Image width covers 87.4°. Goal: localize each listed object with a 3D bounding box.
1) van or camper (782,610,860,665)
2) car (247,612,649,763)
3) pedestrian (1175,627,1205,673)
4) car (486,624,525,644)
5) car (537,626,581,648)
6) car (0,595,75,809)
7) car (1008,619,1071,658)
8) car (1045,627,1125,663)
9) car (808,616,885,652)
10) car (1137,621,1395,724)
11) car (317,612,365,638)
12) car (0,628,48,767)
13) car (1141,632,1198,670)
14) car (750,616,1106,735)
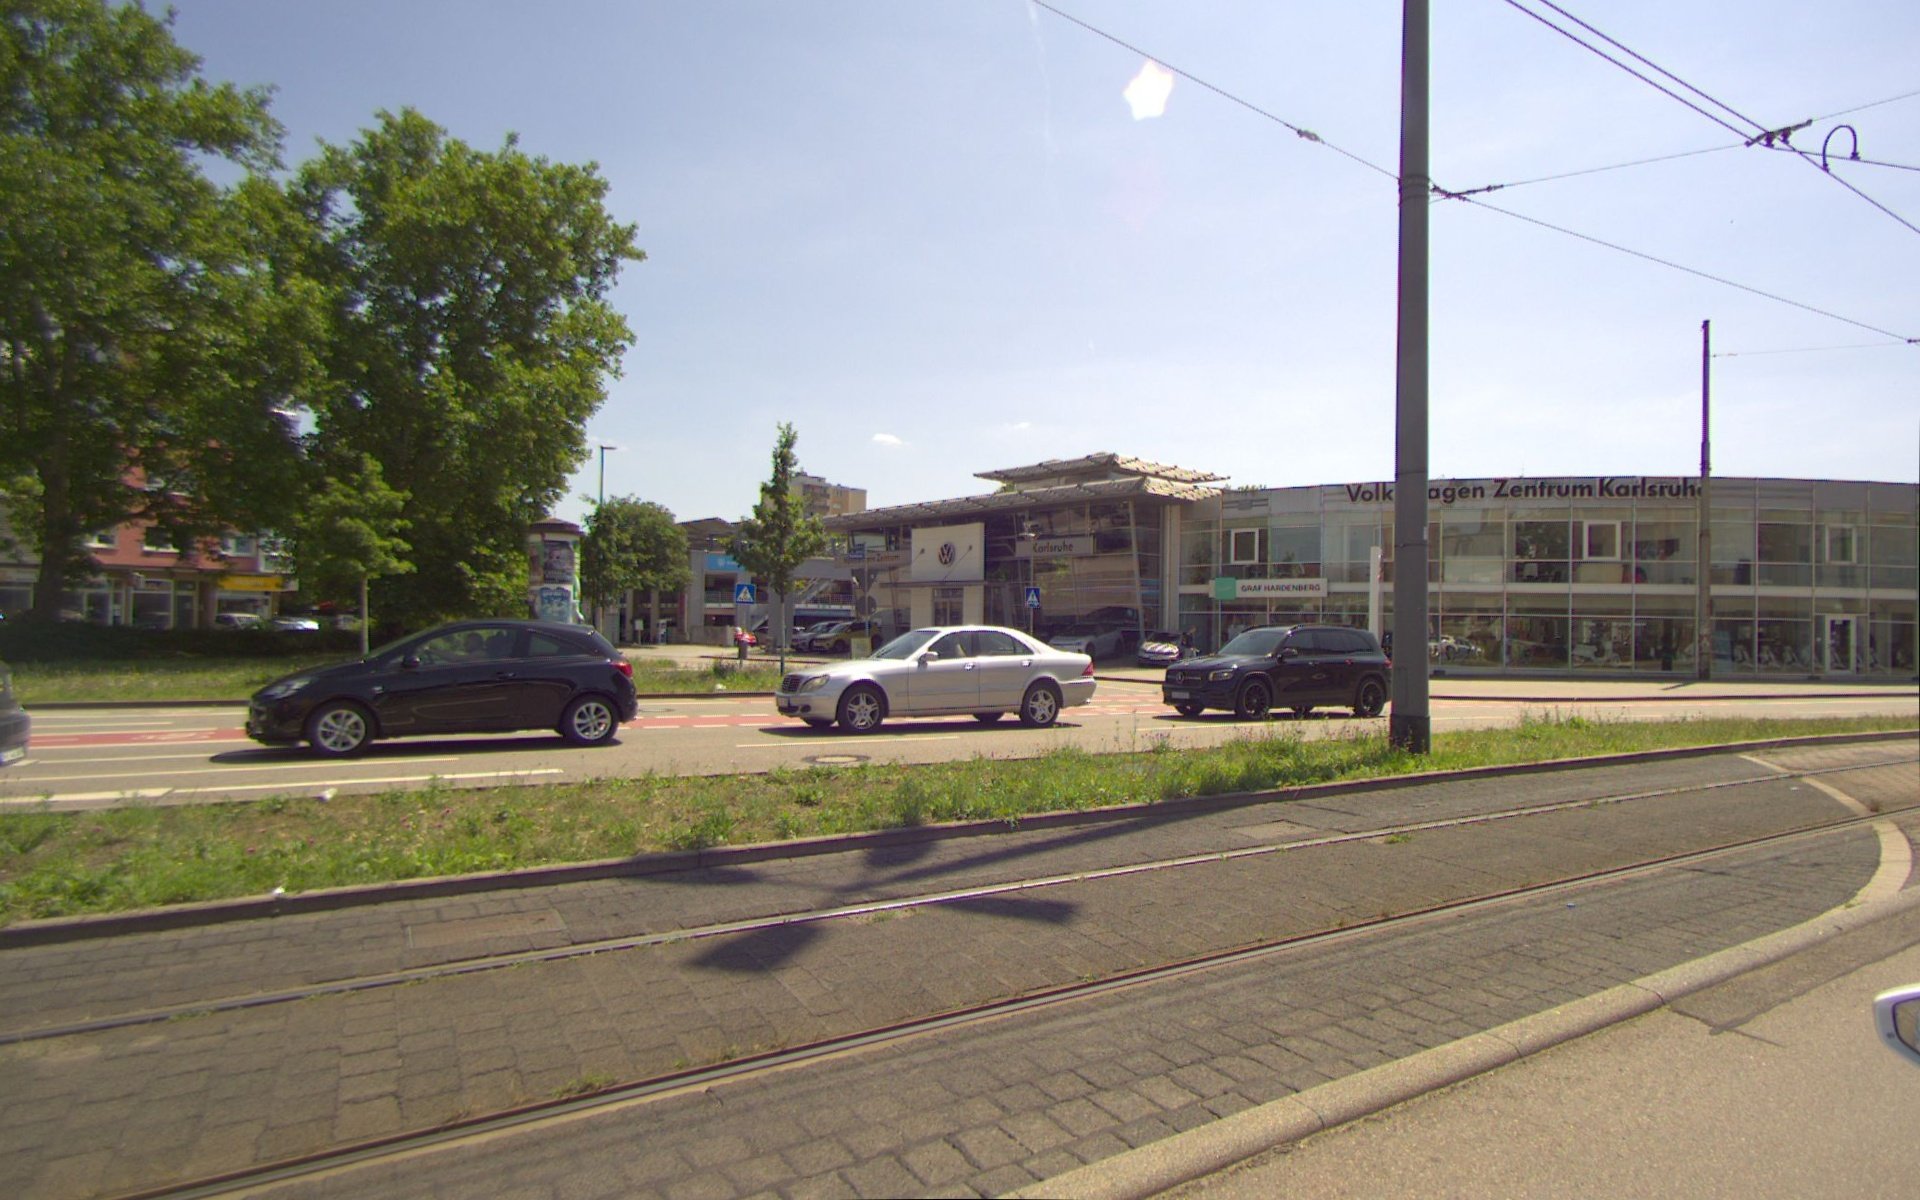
[{"bbox_3d":[-7.941,2.132,57.581,3.971,3.043,1.975,2,-2,-42],"label":"van or camper"},{"bbox_3d":[-5.762,0.945,11.605,3.859,1.481,1.662,2,-3,-31],"label":"car"},{"bbox_3d":[8.584,1.851,37.435,0.810,1.663,0.725,2,-1,-27],"label":"pedestrian"},{"bbox_3d":[-37.350,2.783,82.507,1.815,1.578,3.953,2,-2,-40],"label":"car"},{"bbox_3d":[-29.493,2.703,73.867,1.815,1.578,3.953,2,-2,-40],"label":"car"},{"bbox_3d":[-8.951,0.700,6.658,4.278,1.499,1.835,1,-2,-30],"label":"car"},{"bbox_3d":[3.520,1.678,44.106,1.403,1.639,3.324,0,-2,31],"label":"car"},{"bbox_3d":[5.323,1.880,42.391,1.586,1.439,4.174,0,-2,35],"label":"car"},{"bbox_3d":[-6.229,1.882,55.385,4.070,1.856,1.641,2,-2,-43],"label":"car"},{"bbox_3d":[5.500,1.257,17.947,4.468,1.647,1.815,2,-3,-28],"label":"car"},{"bbox_3d":[-38.092,1.523,61.815,3.157,1.505,1.578,0,-2,40],"label":"car"},{"bbox_3d":[-11.133,0.872,8.933,4.156,1.316,1.698,2,-3,-32],"label":"car"},{"bbox_3d":[8.726,2.090,41.673,1.474,1.476,4.053,0,-2,24],"label":"car"},{"bbox_3d":[-0.399,1.110,15.175,5.072,1.550,1.984,2,-4,-31],"label":"car"}]
